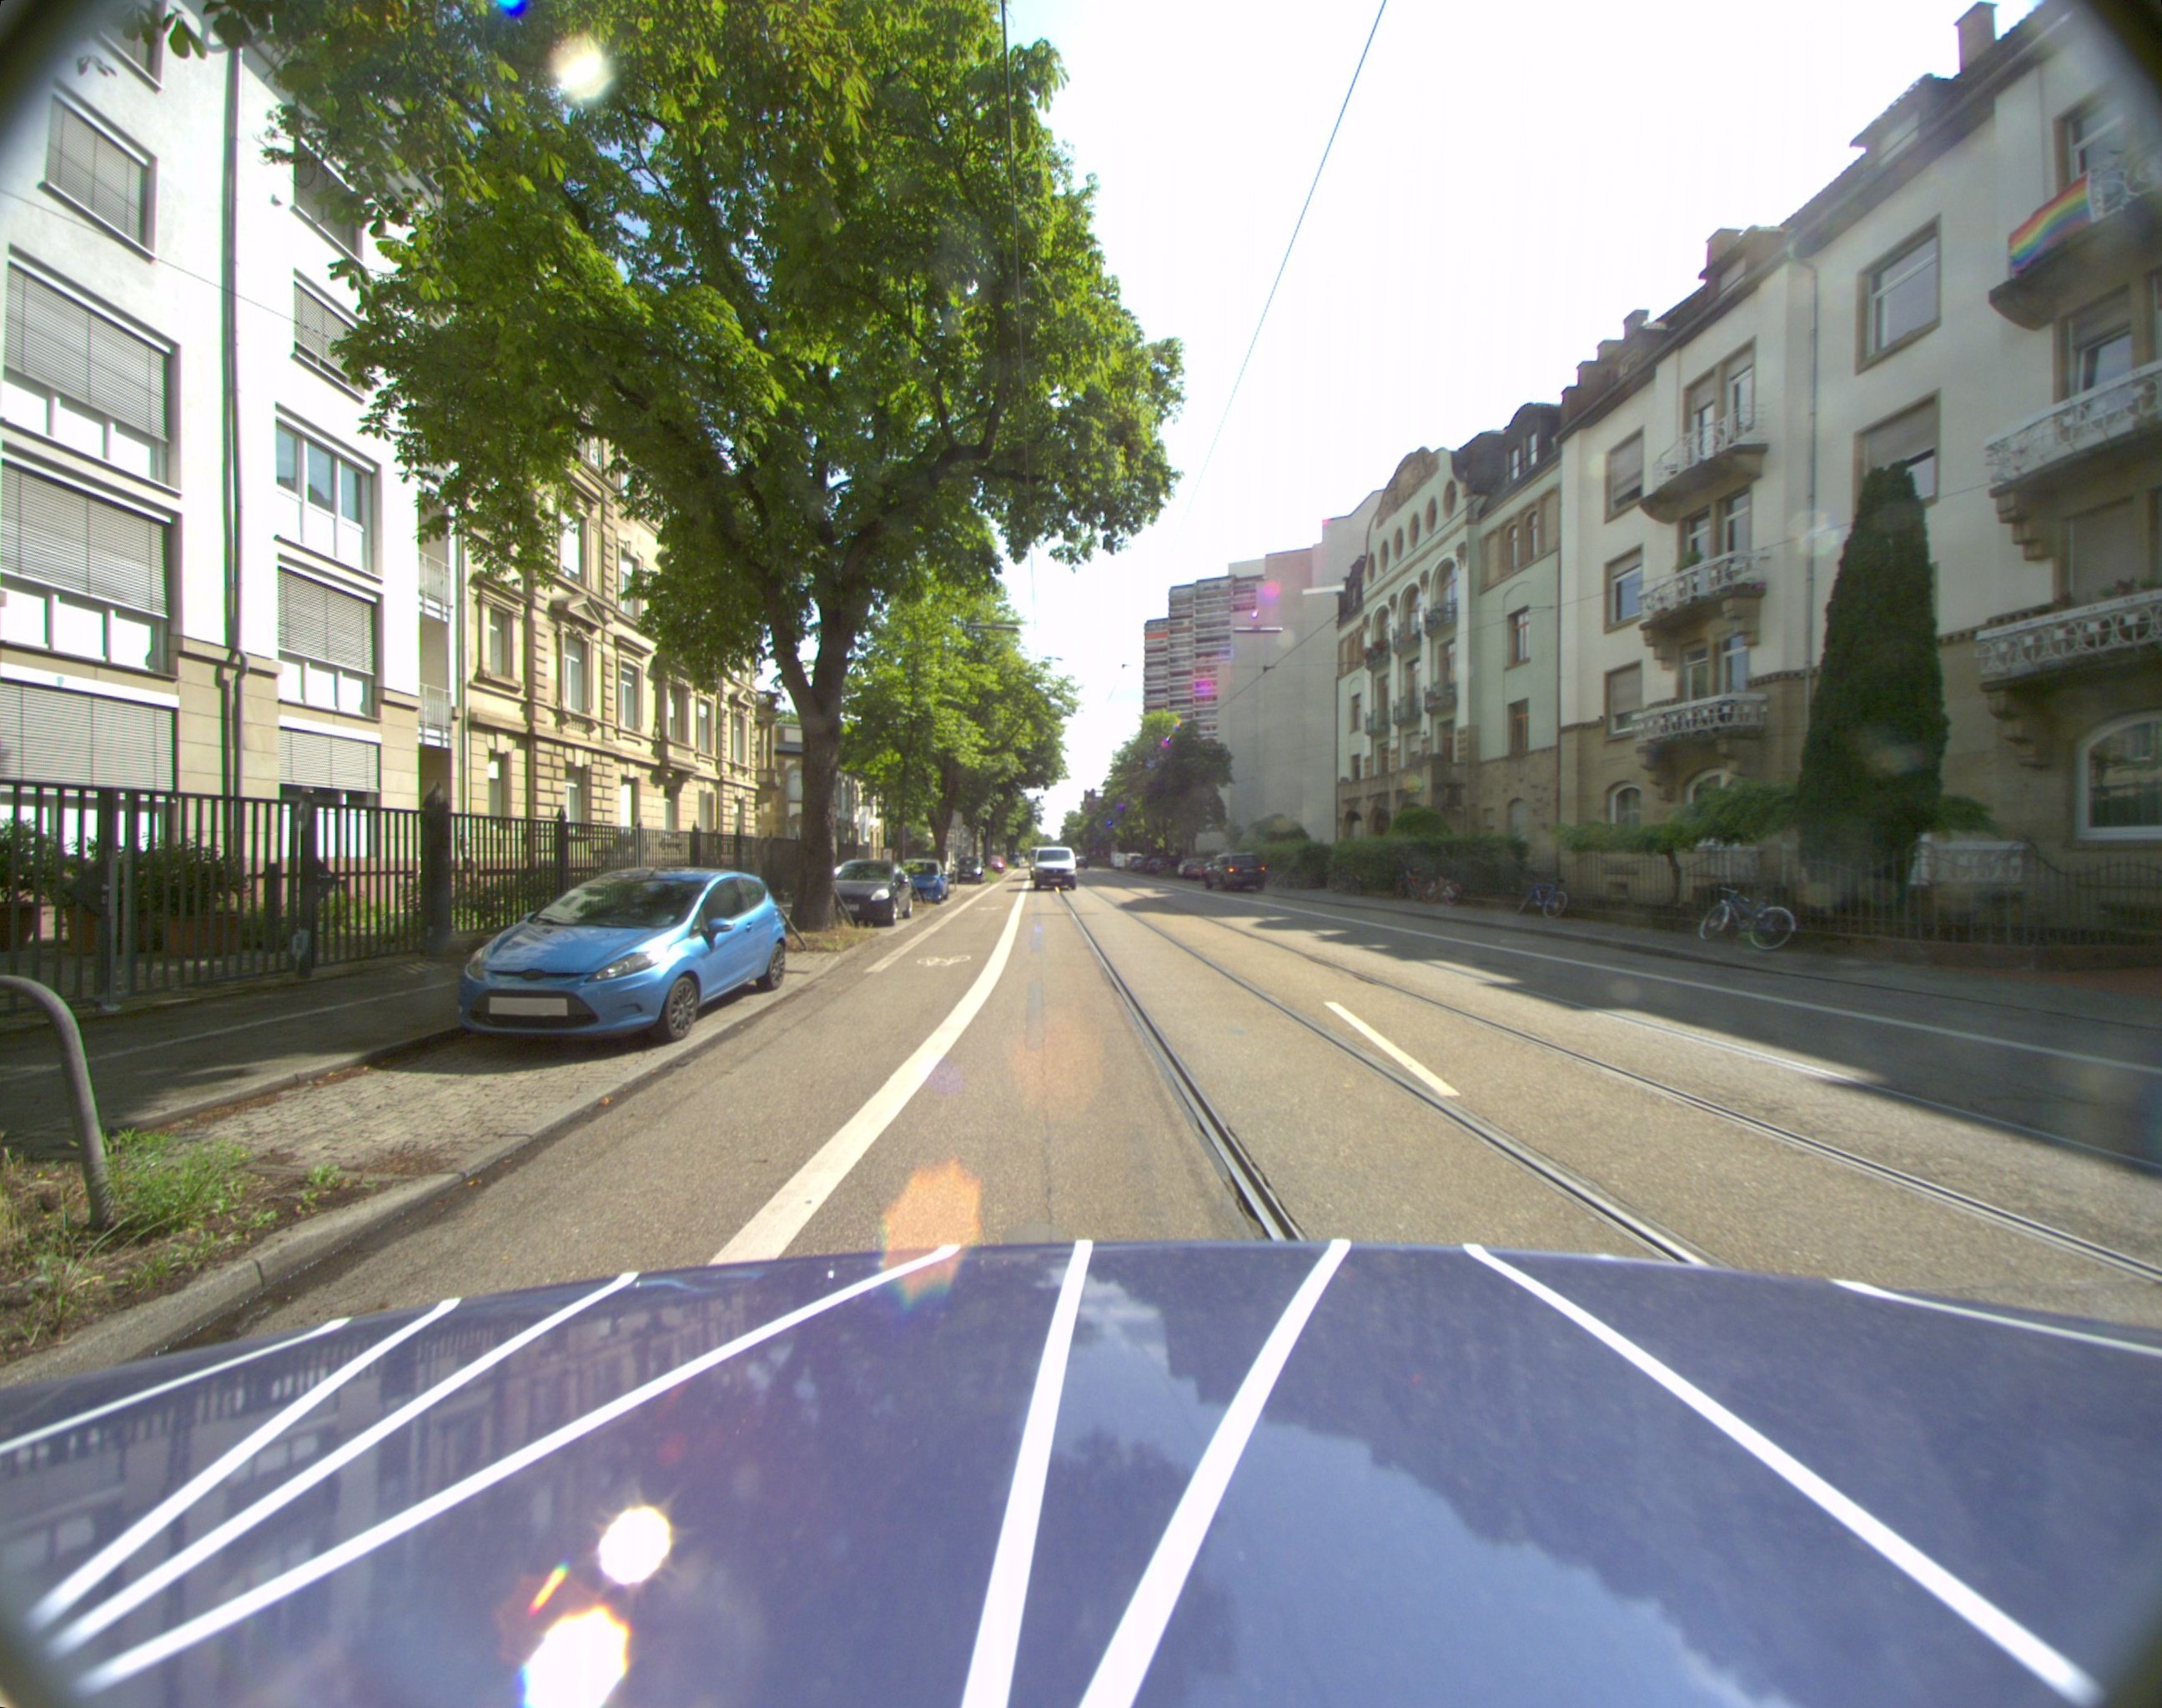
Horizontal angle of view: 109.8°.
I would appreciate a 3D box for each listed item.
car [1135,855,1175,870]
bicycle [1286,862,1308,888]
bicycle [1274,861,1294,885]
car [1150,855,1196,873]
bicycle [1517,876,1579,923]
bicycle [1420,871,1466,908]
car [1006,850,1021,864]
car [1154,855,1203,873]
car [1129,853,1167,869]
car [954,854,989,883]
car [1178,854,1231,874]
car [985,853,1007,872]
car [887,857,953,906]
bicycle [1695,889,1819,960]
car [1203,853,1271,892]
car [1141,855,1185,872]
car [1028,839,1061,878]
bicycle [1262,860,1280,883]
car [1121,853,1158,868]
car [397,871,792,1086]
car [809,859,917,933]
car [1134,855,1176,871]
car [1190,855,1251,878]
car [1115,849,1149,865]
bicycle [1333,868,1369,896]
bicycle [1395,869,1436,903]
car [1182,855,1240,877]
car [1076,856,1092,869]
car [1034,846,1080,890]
[{"bbox_3d":[7.533,0.849,76.901,3.994,1.499,2.001,0,0,7],"label":"car"},{"bbox_3d":[10.024,0.964,35.338,0.468,1.128,1.786,0,0,-1],"label":"bicycle"},{"bbox_3d":[9.934,0.939,37.279,0.468,1.128,1.786,0,0,-1],"label":"bicycle"},{"bbox_3d":[8.146,0.859,67.414,3.994,1.499,2.001,0,0,7],"label":"car"},{"bbox_3d":[10.886,1.031,17.761,0.467,0.990,1.787,0,0,4],"label":"bicycle"},{"bbox_3d":[10.578,1.009,22.244,0.468,0.990,1.786,0,0,-1],"label":"bicycle"},{"bbox_3d":[-8.192,0.322,92.239,1.744,1.564,3.928,3,0,-4],"label":"car"},{"bbox_3d":[8.256,0.852,64.259,3.994,1.499,2.001,0,0,7],"label":"car"},{"bbox_3d":[7.102,0.759,80.372,3.994,1.672,2.001,0,0,7],"label":"car"},{"bbox_3d":[-6.398,0.832,44.618,1.744,1.564,3.659,3,0,-4],"label":"car"},{"bbox_3d":[9.422,0.767,58.215,3.994,1.499,2.001,0,0,7],"label":"car"},{"bbox_3d":[-7.565,0.698,67.884,1.744,1.564,3.928,3,0,-4],"label":"car"},{"bbox_3d":[-5.422,0.898,26.046,1.679,1.467,3.659,3,0,-4],"label":"car"},{"bbox_3d":[11.054,1.114,12.518,0.467,0.990,1.979,0,0,6],"label":"bicycle"},{"bbox_3d":[7.122,0.787,35.186,1.922,1.685,4.399,0,0,-5],"label":"car"},{"bbox_3d":[7.635,0.889,70.531,3.994,1.499,2.001,0,0,7],"label":"car"},{"bbox_3d":[-2.512,0.315,52.595,2.147,2.568,4.816,0,0,-2],"label":"car"},{"bbox_3d":[9.826,0.890,39.376,0.468,1.128,1.786,0,0,-1],"label":"bicycle"},{"bbox_3d":[6.503,0.731,84.795,3.994,1.672,2.001,0,0,7],"label":"car"},{"bbox_3d":[-4.345,0.987,7.538,1.647,1.467,3.660,3,0,-3],"label":"car"},{"bbox_3d":[-4.981,0.896,17.834,1.679,1.467,3.659,3,0,-4],"label":"car"},{"bbox_3d":[7.217,0.856,73.739,3.994,1.499,2.001,0,0,7],"label":"car"},{"bbox_3d":[9.349,0.853,51.159,3.994,1.499,2.001,0,0,7],"label":"car"},{"bbox_3d":[6.062,0.379,90.627,1.994,1.740,4.008,-1,1,41],"label":"car"},{"bbox_3d":[10.004,1.024,28.227,0.605,0.990,1.980,0,0,-1],"label":"bicycle"},{"bbox_3d":[10.609,1.000,24.143,0.468,0.990,1.786,0,0,-1],"label":"bicycle"},{"bbox_3d":[9.300,0.856,54.667,3.994,1.499,2.001,0,0,7],"label":"car"},{"bbox_3d":[0.353,0.987,92.536,1.761,1.509,4.067,0,0,-4],"label":"car"},{"bbox_3d":[-1.138,0.602,35.409,1.974,1.901,4.816,0,0,-2],"label":"car"}]
